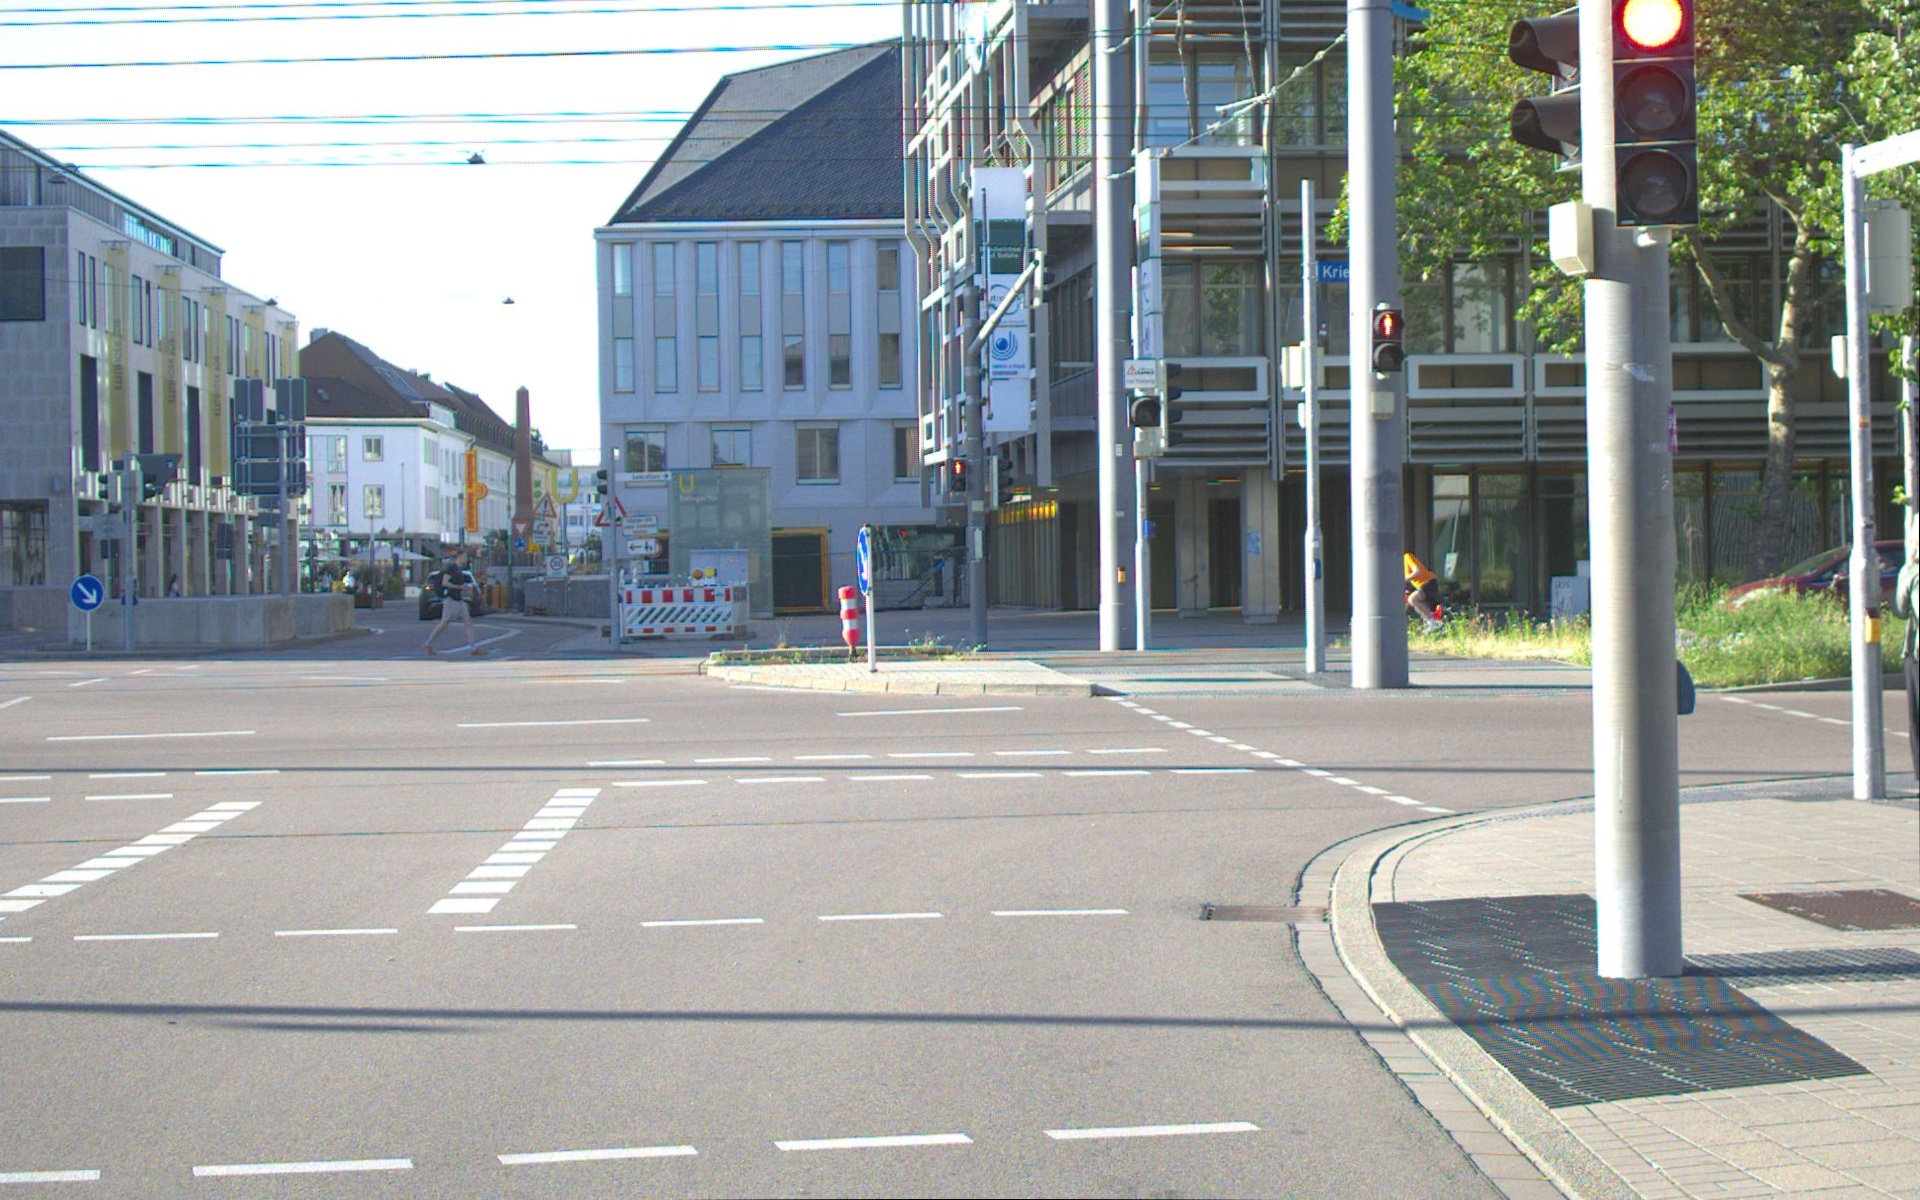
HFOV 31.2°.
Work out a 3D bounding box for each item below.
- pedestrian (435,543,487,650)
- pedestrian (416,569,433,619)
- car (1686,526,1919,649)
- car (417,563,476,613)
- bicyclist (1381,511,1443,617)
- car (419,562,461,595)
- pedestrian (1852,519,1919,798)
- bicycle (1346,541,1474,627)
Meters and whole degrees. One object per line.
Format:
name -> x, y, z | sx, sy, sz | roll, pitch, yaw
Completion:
pedestrian -> -8.888, -0.060, 61.251 | 0.642, 1.883, 0.790 | 1, 0, 14
pedestrian -> -18.246, -0.217, 117.166 | 0.521, 1.674, 0.583 | 1, 1, -7
car -> 11.908, -0.181, 46.159 | 3.884, 1.579, 1.660 | -1, 1, -7
car -> -16.143, -0.393, 108.212 | 1.737, 1.525, 3.856 | 1, 1, -7
bicyclist -> 6.181, -0.487, 47.020 | 0.711, 1.432, 0.497 | 1, 0, -9
car -> -23.493, -0.984, 155.461 | 1.785, 1.446, 4.001 | 1, 1, -7
pedestrian -> 5.339, 0.313, 18.682 | 0.788, 1.487, 0.644 | 1, 0, -1
bicycle -> 6.156, -0.214, 47.001 | 1.644, 1.150, 0.497 | 1, 0, -9
